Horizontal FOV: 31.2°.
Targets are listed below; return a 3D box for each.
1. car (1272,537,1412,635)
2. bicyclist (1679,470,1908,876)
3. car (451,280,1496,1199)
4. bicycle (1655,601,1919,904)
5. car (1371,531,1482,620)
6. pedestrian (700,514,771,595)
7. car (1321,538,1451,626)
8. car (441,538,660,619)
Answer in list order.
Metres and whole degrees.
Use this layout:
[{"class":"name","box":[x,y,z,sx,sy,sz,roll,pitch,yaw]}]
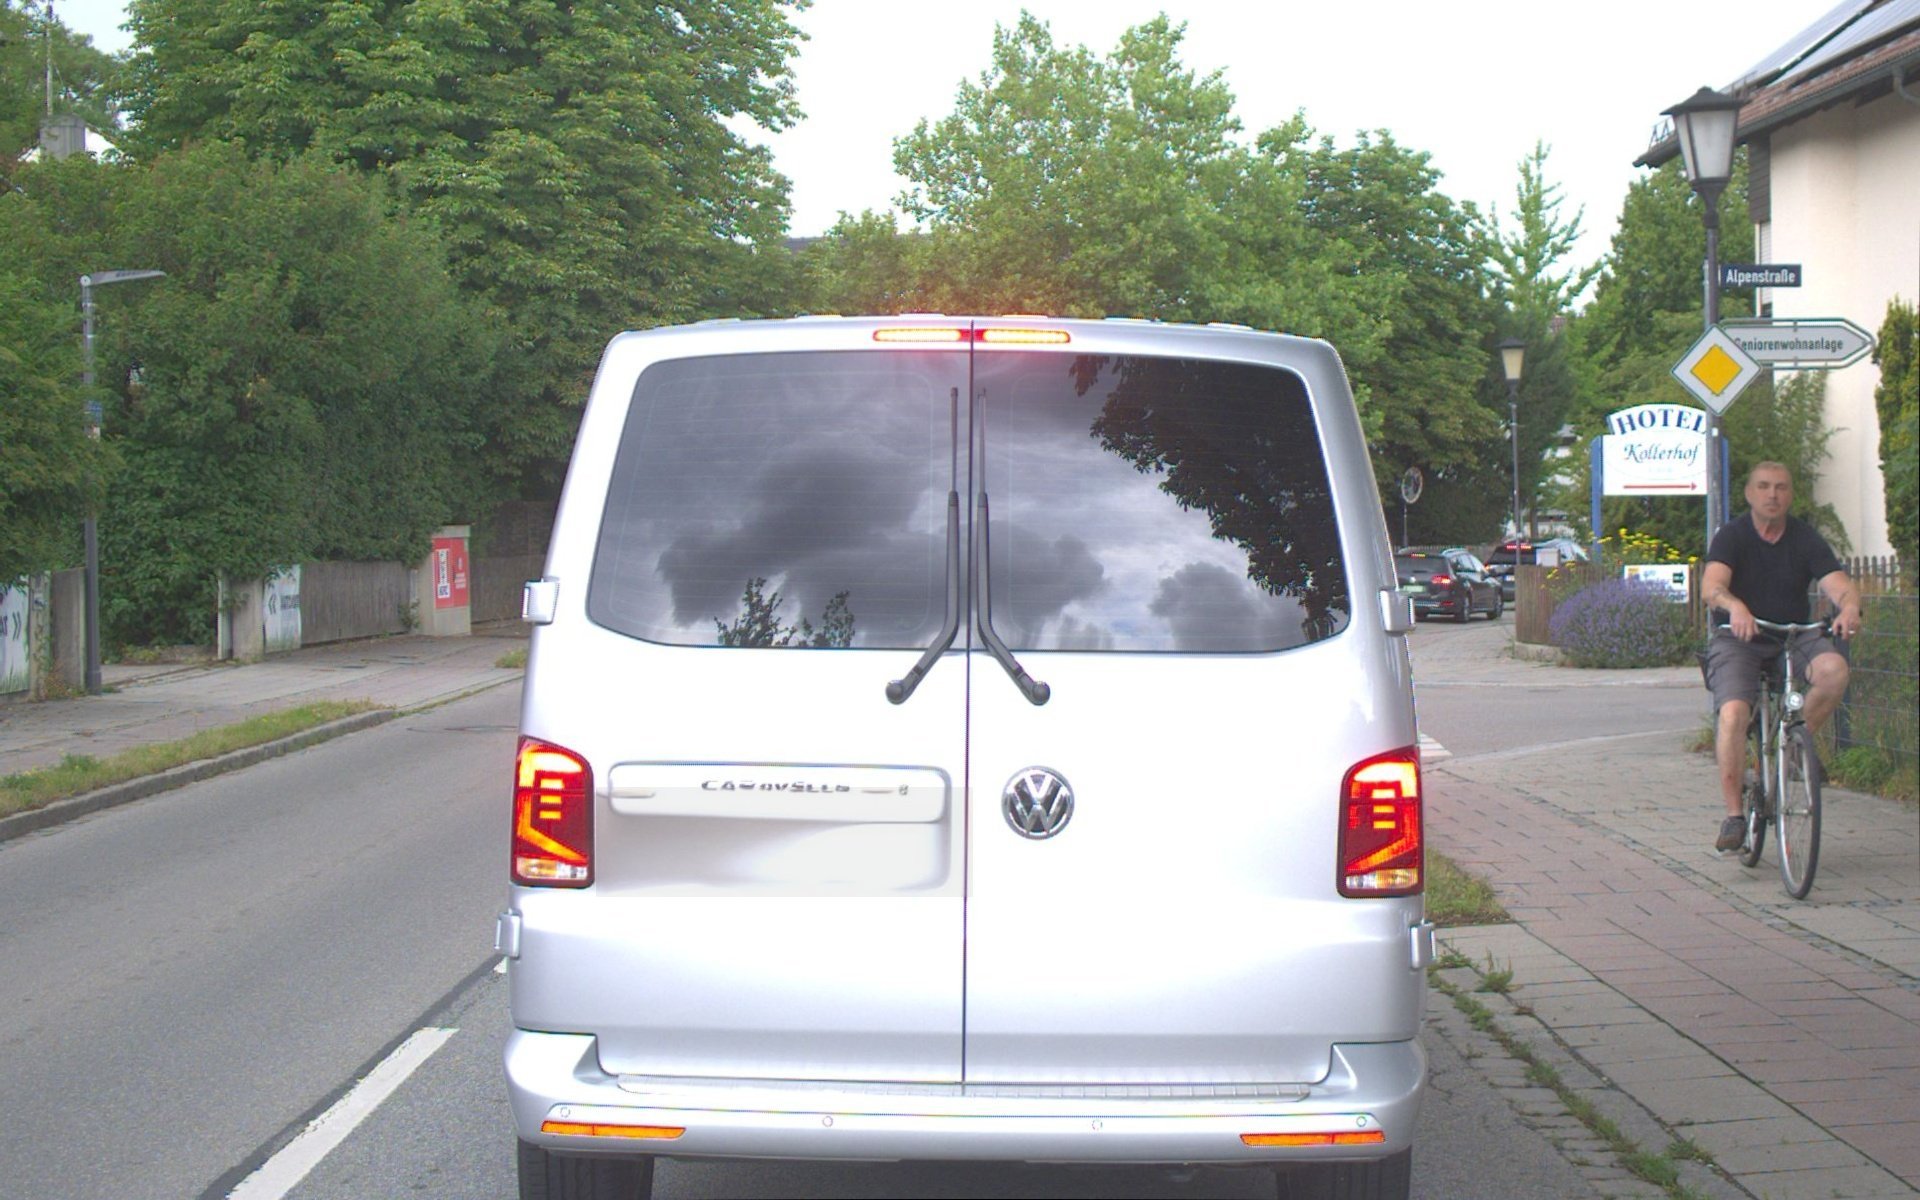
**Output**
[{"class":"car","box":[6.263,-0.259,56.064,1.882,1.530,3.919,0,1,12]},{"class":"bicyclist","box":[3.430,0.284,14.210,0.736,1.627,0.890,0,1,1]},{"class":"car","box":[0.045,0.361,8.179,1.881,1.934,3.921,0,1,1]},{"class":"bicycle","box":[3.437,0.594,14.289,0.764,1.139,1.845,0,1,1]},{"class":"car","box":[9.384,-0.511,68.944,1.882,1.742,4.078,0,1,12]},{"class":"pedestrian","box":[-5.023,-1.016,76.801,1.318,1.796,1.069,0,1,-22]},{"class":"car","box":[7.719,-0.343,62.003,1.882,1.530,3.918,0,1,14]},{"class":"car","box":[-7.624,-0.418,63.887,3.986,1.481,2.001,0,1,-8]}]
